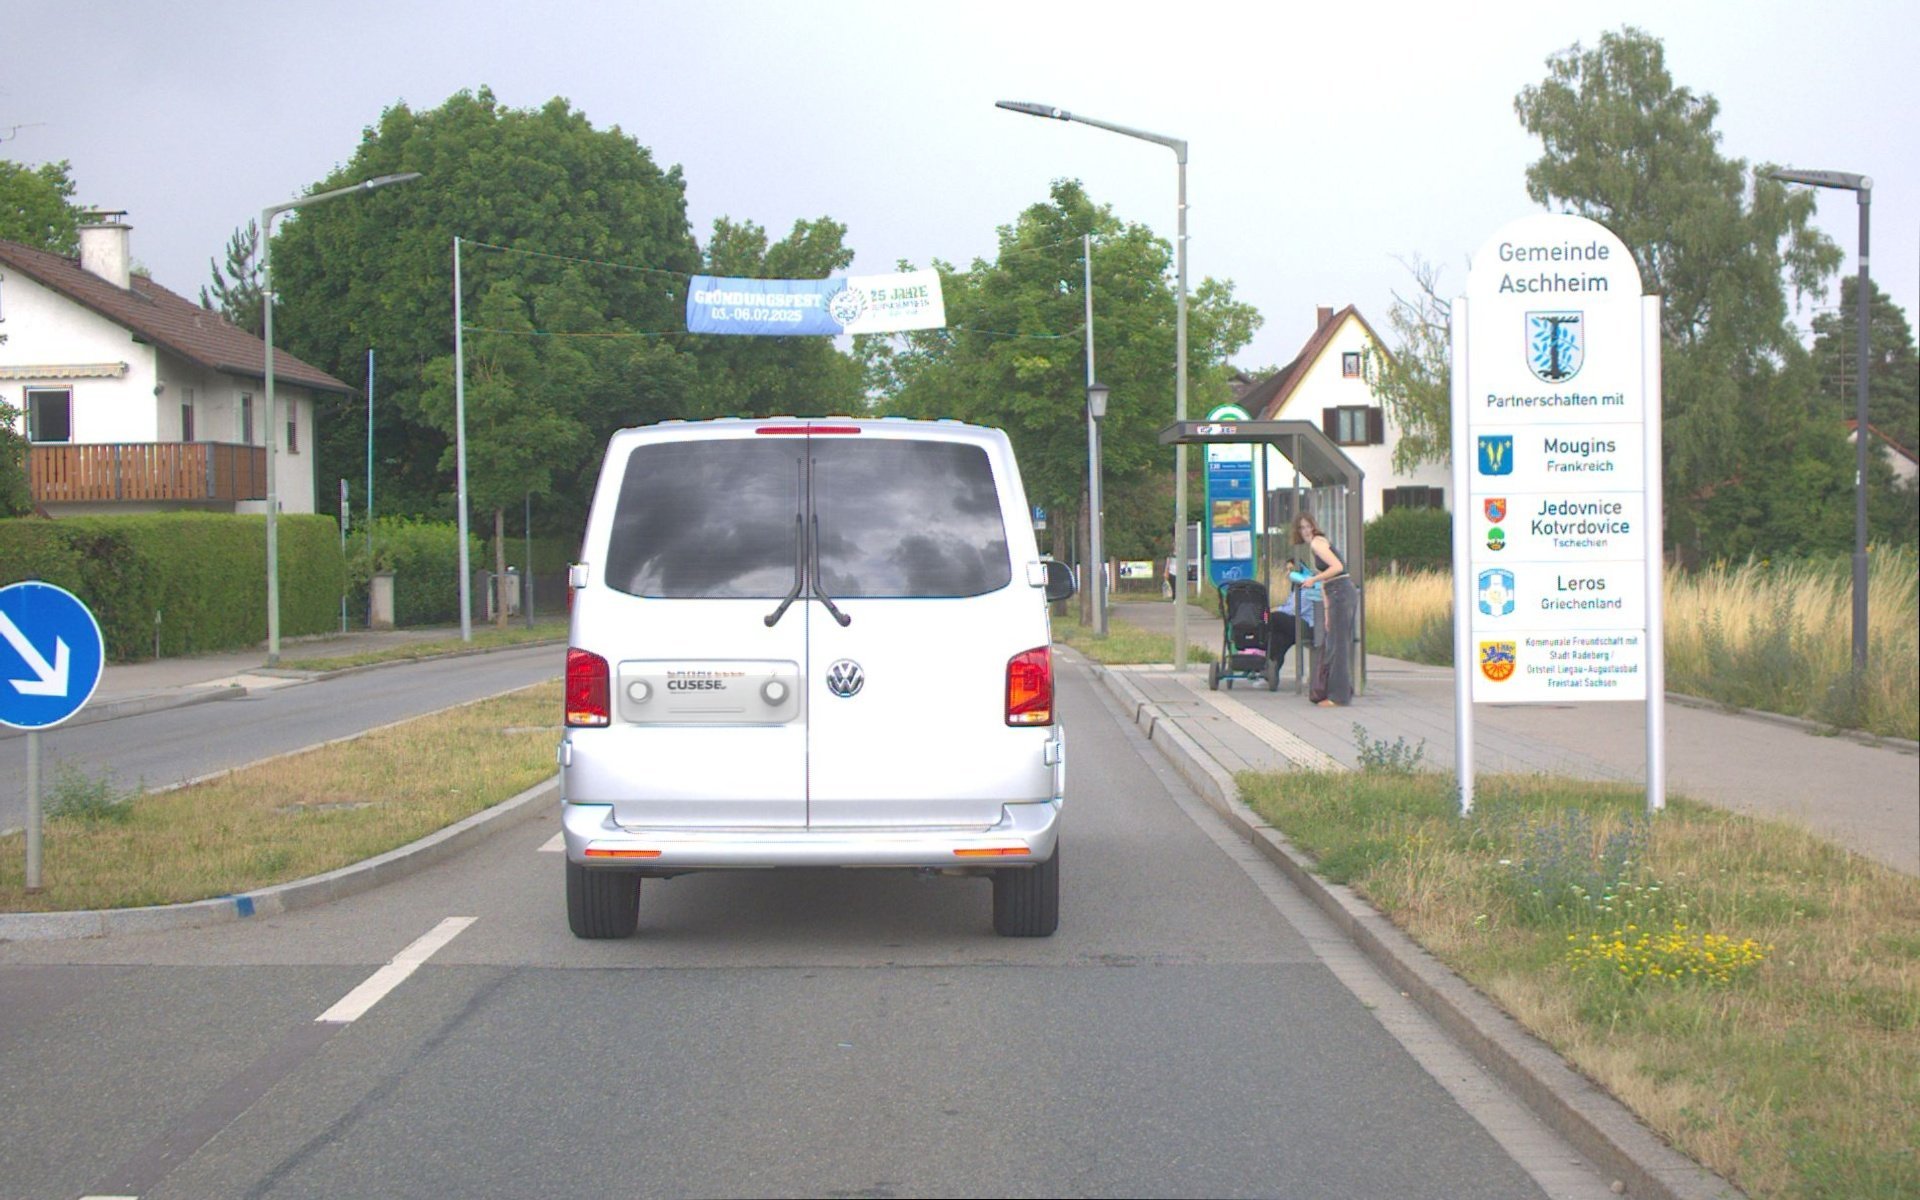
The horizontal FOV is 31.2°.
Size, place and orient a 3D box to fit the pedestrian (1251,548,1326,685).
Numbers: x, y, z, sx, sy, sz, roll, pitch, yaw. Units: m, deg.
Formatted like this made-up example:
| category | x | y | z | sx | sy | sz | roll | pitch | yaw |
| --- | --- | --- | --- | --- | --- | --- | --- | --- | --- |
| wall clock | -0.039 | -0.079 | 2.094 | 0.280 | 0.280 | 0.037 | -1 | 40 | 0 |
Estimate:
| category | x | y | z | sx | sy | sz | roll | pitch | yaw |
| --- | --- | --- | --- | --- | --- | --- | --- | --- | --- |
| pedestrian | 3.190 | 0.156 | 33.359 | 0.665 | 1.298 | 0.505 | 1 | 0 | 9 |

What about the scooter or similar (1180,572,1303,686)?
| category | x | y | z | sx | sy | sz | roll | pitch | yaw |
| --- | --- | --- | --- | --- | --- | --- | --- | --- | --- |
| scooter or similar | 2.696 | 0.272 | 32.852 | 0.708 | 1.058 | 1.058 | 1 | 0 | 37 |

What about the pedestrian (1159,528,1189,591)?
| category | x | y | z | sx | sy | sz | roll | pitch | yaw |
| --- | --- | --- | --- | --- | --- | --- | --- | --- | --- |
| pedestrian | 5.954 | -1.127 | 95.652 | 0.837 | 1.749 | 0.869 | 0 | 1 | 5 |

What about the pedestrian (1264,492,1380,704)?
| category | x | y | z | sx | sy | sz | roll | pitch | yaw |
| --- | --- | --- | --- | --- | --- | --- | --- | --- | --- |
| pedestrian | 3.120 | -0.020 | 29.616 | 0.782 | 1.786 | 0.778 | 1 | 1 | 21 |

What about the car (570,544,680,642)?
| category | x | y | z | sx | sy | sz | roll | pitch | yaw |
| --- | --- | --- | --- | --- | --- | --- | --- | --- | --- |
| car | -7.280 | -0.194 | 75.100 | 1.830 | 2.023 | 5.046 | 1 | 1 | 1 |

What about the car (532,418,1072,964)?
| category | x | y | z | sx | sy | sz | roll | pitch | yaw |
| --- | --- | --- | --- | --- | --- | --- | --- | --- | --- |
| car | -0.578 | 0.303 | 14.027 | 1.888 | 1.905 | 4.000 | 0 | 0 | -1 |
